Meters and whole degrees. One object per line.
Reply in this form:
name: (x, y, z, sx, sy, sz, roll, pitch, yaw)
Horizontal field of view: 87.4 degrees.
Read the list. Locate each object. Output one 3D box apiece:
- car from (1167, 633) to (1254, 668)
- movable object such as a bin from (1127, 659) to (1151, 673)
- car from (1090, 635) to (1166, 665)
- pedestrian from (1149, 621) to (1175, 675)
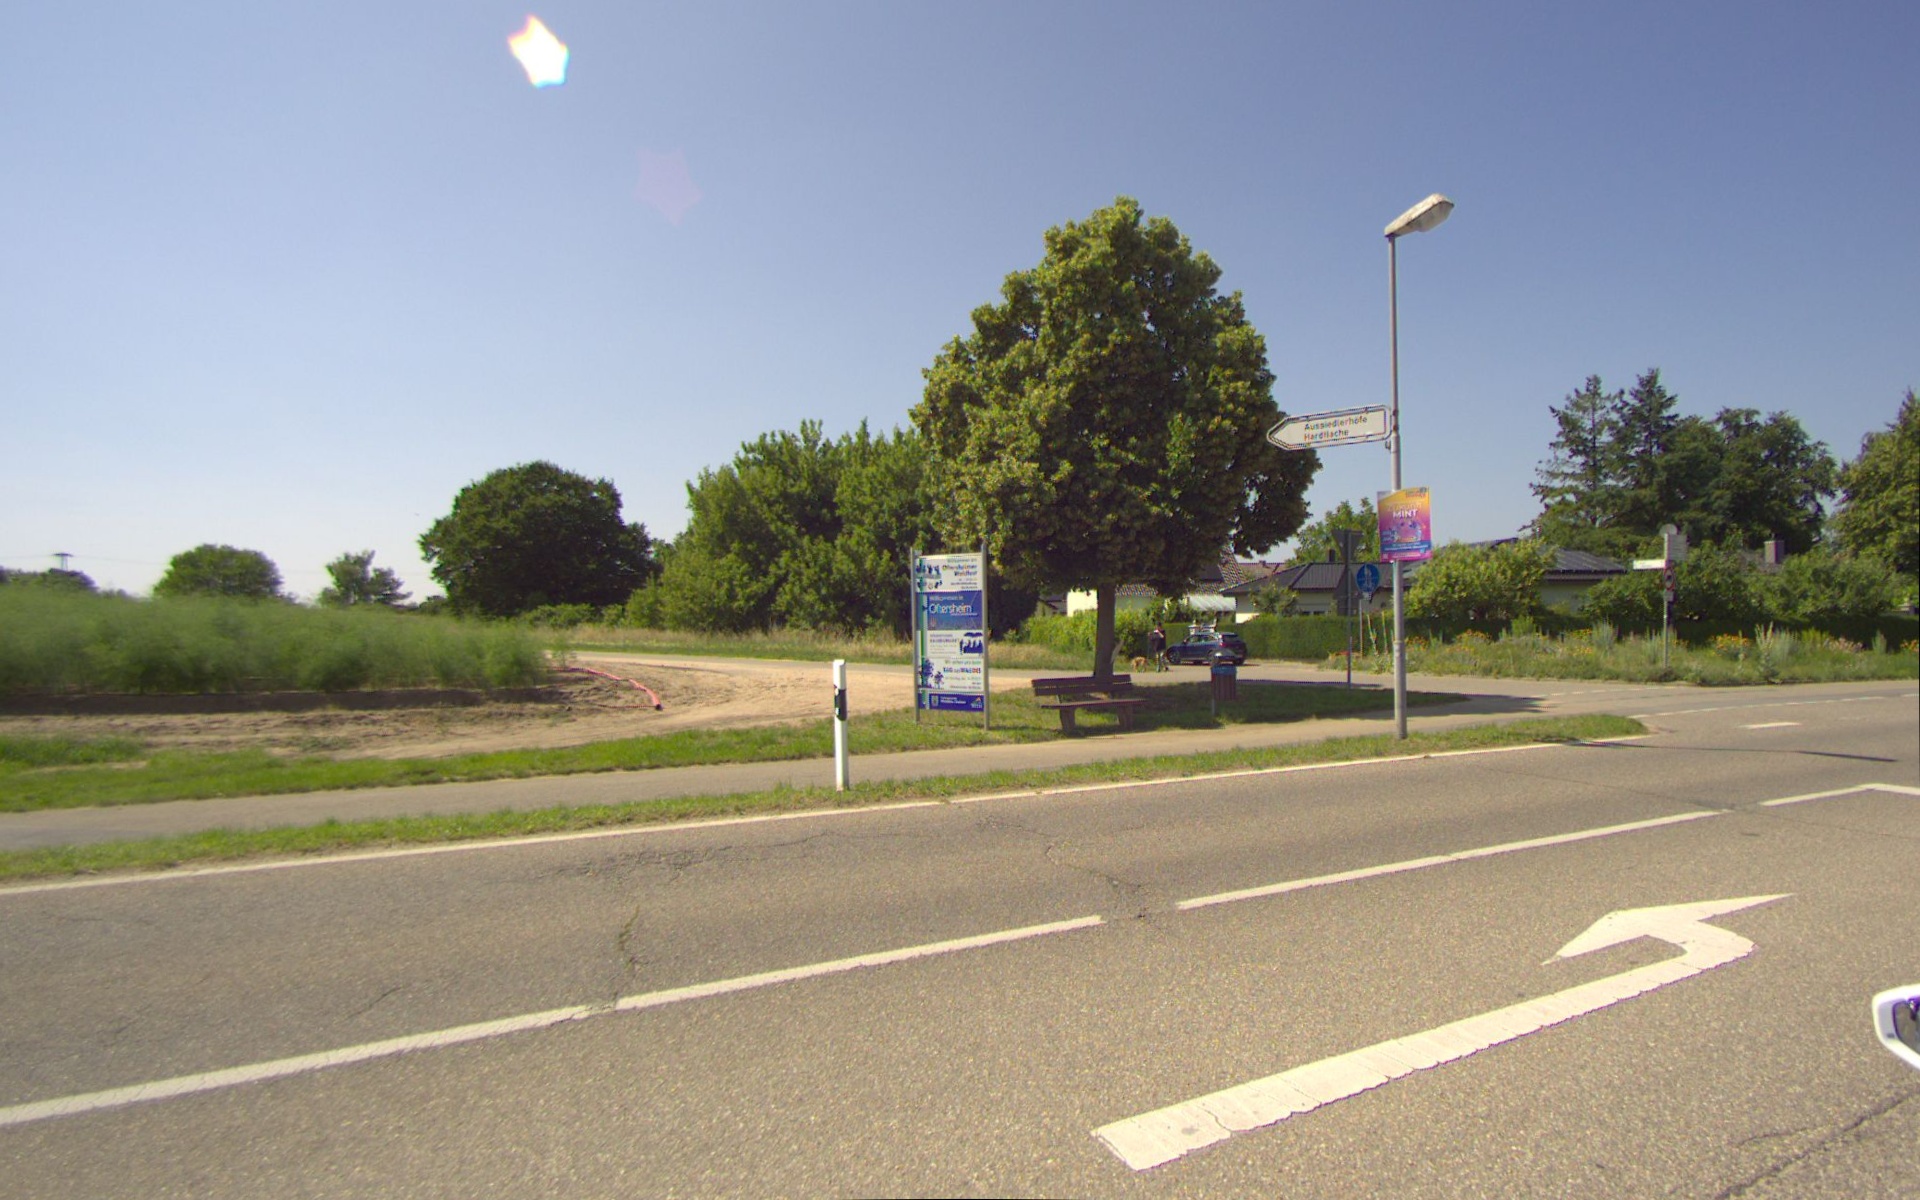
car: (12.121, 2.458, 48.850, 1.859, 1.539, 3.970, -1, -2, -29)
movable object such as a bin: (5.796, 2.131, 32.478, 0.749, 0.416, 0.320, 0, -1, 10)
car: (9.025, 2.673, 54.212, 1.977, 1.539, 3.968, 1, -3, -30)
pedestrian: (6.607, 1.551, 32.833, 0.668, 1.739, 0.546, 1, -1, -31)
